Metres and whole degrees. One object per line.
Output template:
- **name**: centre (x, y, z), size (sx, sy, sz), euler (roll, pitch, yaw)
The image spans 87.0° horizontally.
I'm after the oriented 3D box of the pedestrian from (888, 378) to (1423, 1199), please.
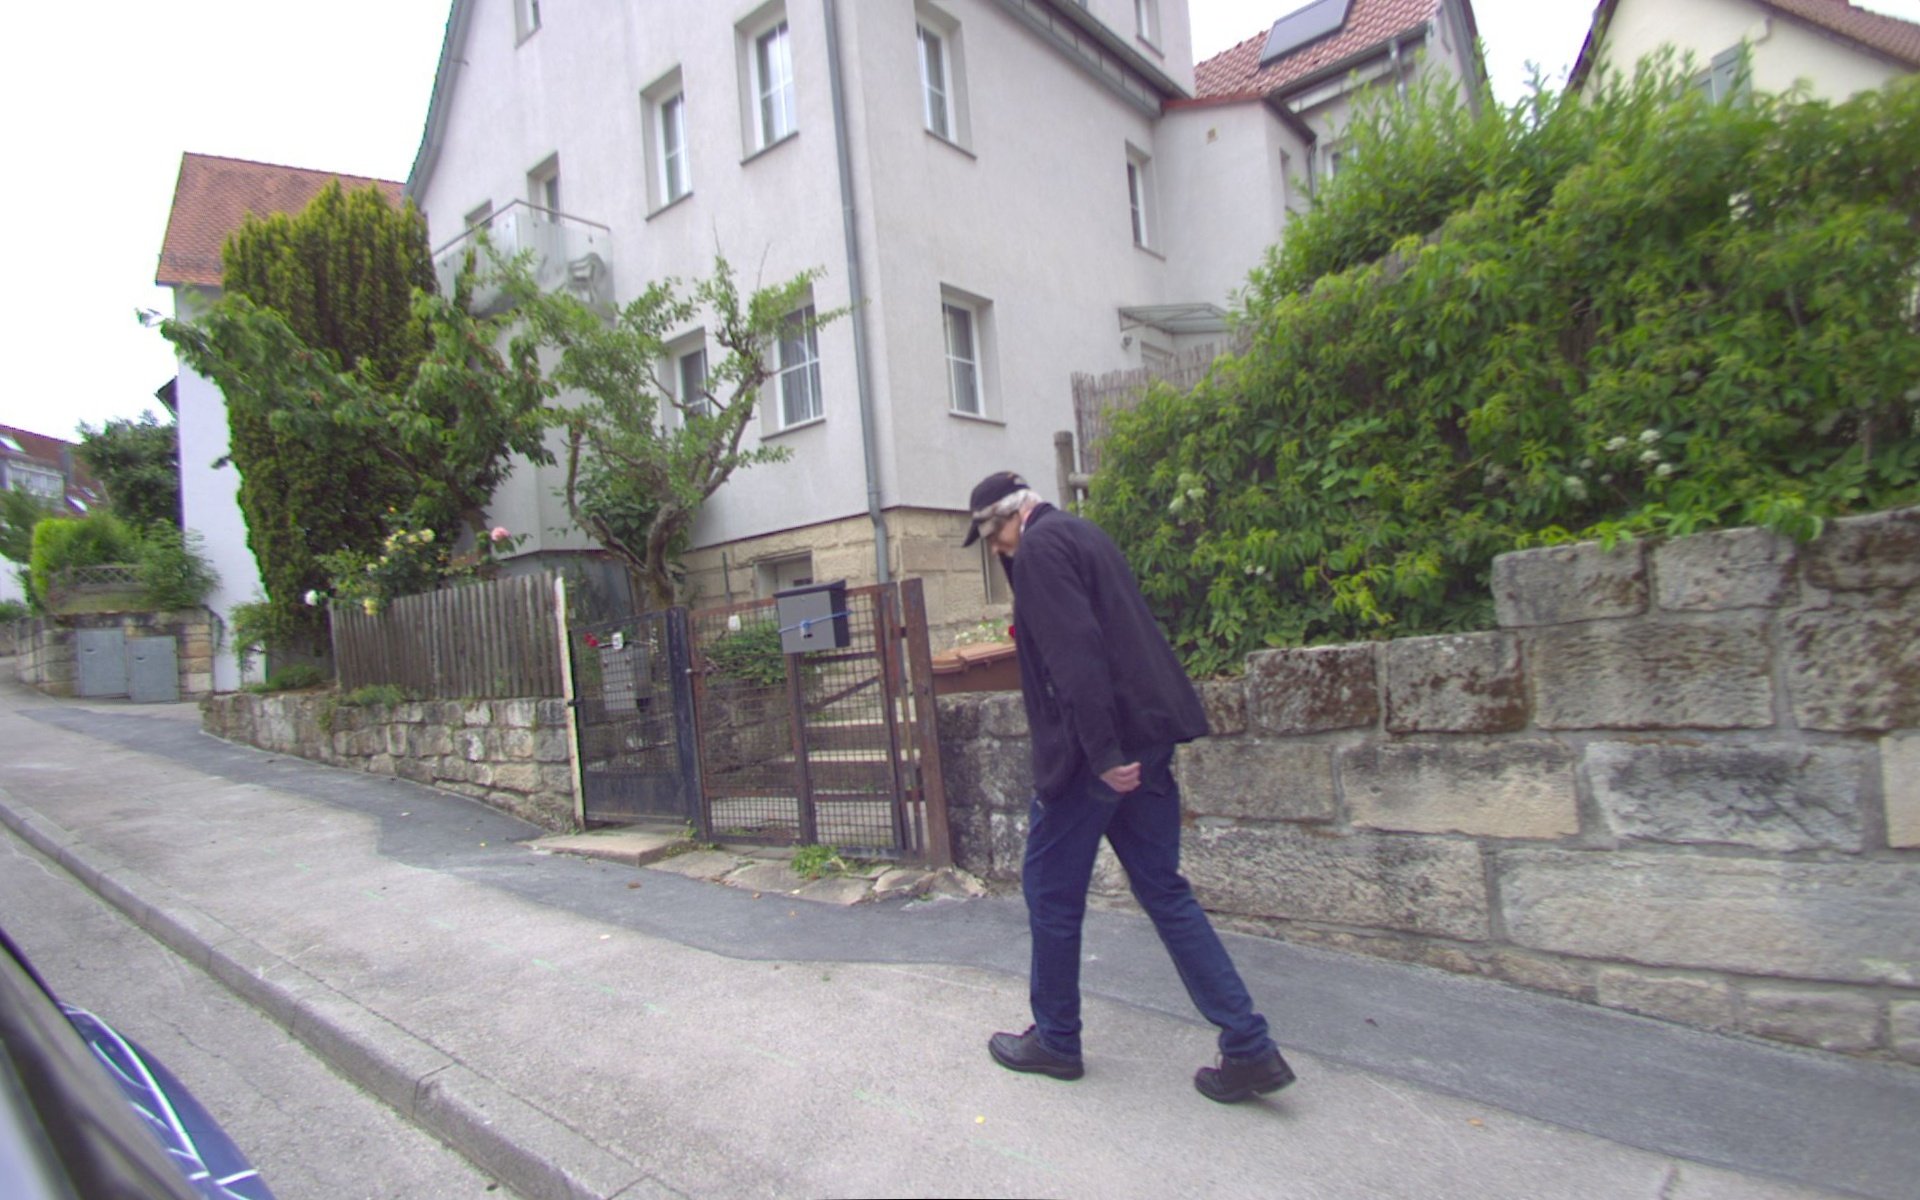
- **pedestrian**: centre (0.505, 0.412, 2.582), size (0.976, 1.690, 0.832), euler (-3, 1, 40)
